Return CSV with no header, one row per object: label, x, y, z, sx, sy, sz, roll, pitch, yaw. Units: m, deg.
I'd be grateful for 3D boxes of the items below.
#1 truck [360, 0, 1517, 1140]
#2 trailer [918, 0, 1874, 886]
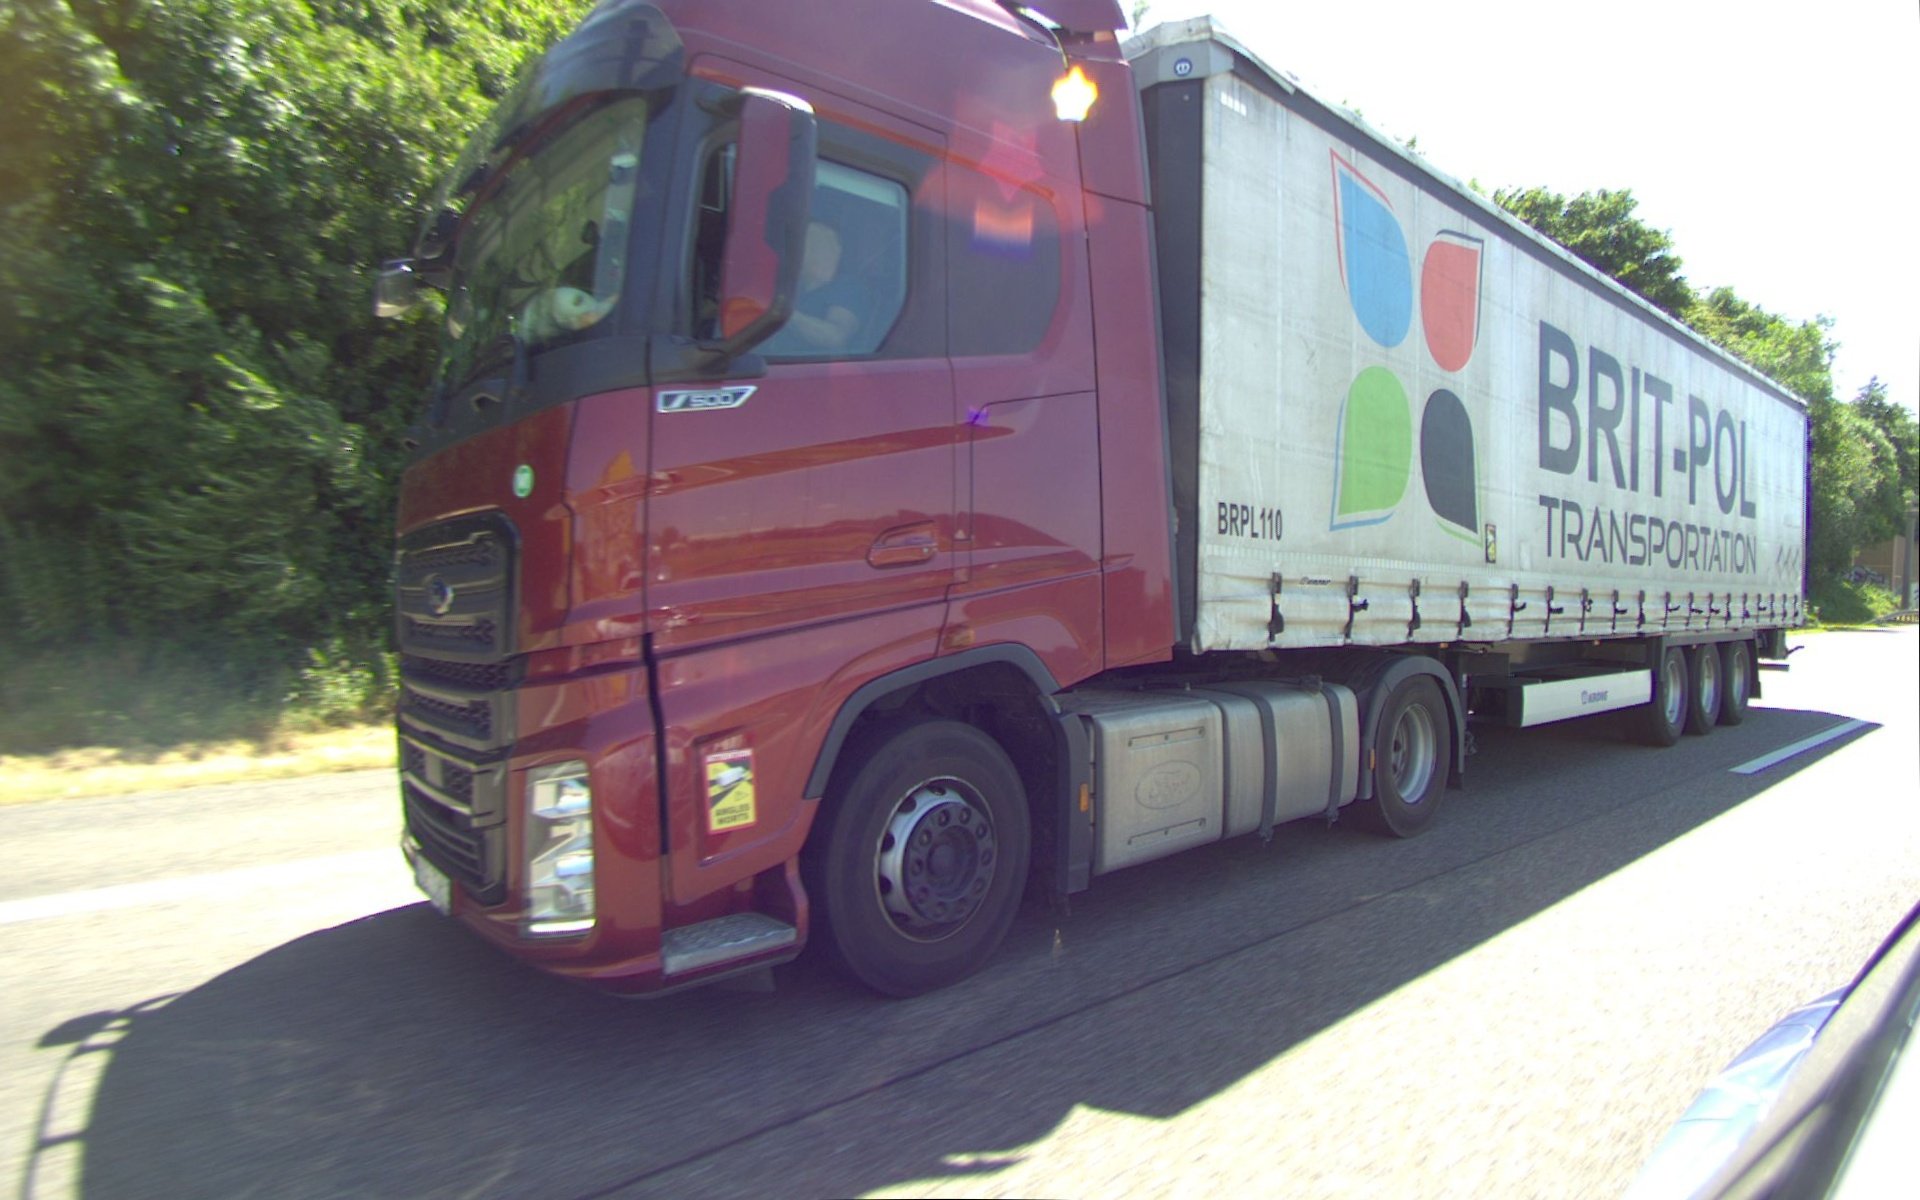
truck,0.270,-0.896,5.751,5.945,4.496,3.094,-1,1,-40
trailer,6.296,-0.978,10.837,14.630,4.563,3.113,-1,1,-40
